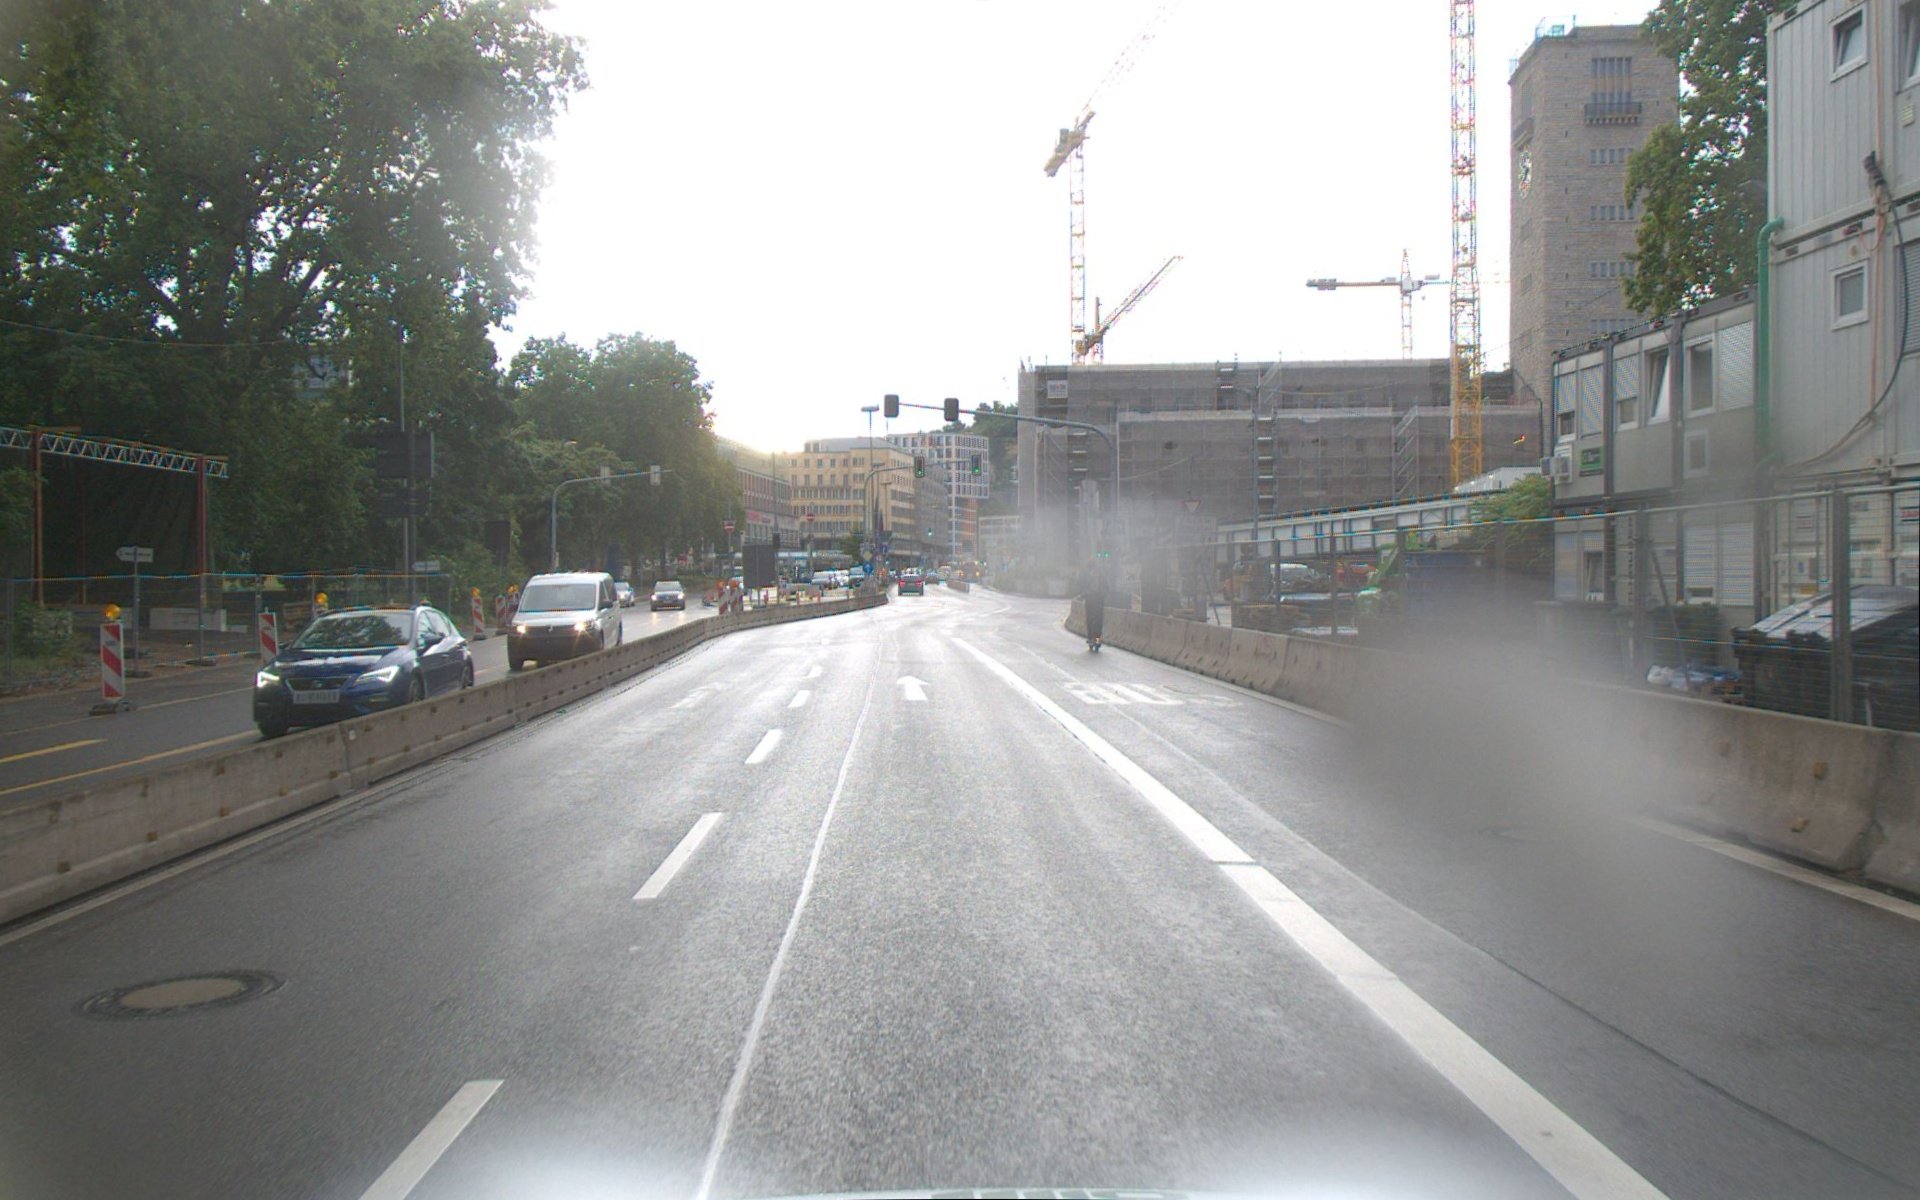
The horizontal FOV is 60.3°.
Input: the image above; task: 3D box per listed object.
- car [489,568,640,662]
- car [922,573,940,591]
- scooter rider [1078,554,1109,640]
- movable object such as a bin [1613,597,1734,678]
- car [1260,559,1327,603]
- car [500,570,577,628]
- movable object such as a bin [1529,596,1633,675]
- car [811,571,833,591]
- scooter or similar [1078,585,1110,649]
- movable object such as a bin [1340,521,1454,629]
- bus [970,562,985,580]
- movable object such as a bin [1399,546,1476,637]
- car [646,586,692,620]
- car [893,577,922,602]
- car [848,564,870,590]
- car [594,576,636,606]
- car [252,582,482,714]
[{"bbox_3d":[-7.882,0.285,33.449,1.990,1.682,4.909,-3,0,-2],"label":"car"},{"bbox_3d":[-3.552,-2.179,203.277,1.953,2.049,3.999,-2,-2,0],"label":"car"},{"bbox_3d":[2.867,-0.065,35.529,0.585,1.817,0.997,0,0,1],"label":"scooter rider"},{"bbox_3d":[10.842,0.570,25.177,1.222,1.143,1.238,-2,-2,-3],"label":"movable object such as a bin"},{"bbox_3d":[14.791,-0.897,73.644,1.809,1.838,5.085,0,2,-2],"label":"car"},{"bbox_3d":[-14.049,-0.007,55.294,1.839,1.736,3.994,-2,-2,-6],"label":"car"},{"bbox_3d":[10.616,0.612,28.319,1.222,1.258,1.238,-2,-2,-3],"label":"movable object such as a bin"},{"bbox_3d":[-12.654,-1.752,151.787,1.865,1.554,4.173,-2,-1,-4],"label":"car"},{"bbox_3d":[2.873,0.341,35.551,0.585,1.342,1.667,0,0,1],"label":"scooter or similar"},{"bbox_3d":[12.081,-0.740,46.005,1.772,2.858,3.861,0,2,-7],"label":"movable object such as a bin"},{"bbox_3d":[2.610,-4.249,245.657,1.952,2.474,4.001,-2,-2,4],"label":"bus"},{"bbox_3d":[12.156,-0.240,42.118,1.438,2.241,1.255,-1,2,-25],"label":"movable object such as a bin"},{"bbox_3d":[-15.124,0.185,86.177,1.955,1.568,4.573,-2,-1,-6],"label":"car"},{"bbox_3d":[-3.732,-0.756,117.059,1.865,1.554,4.173,-2,-1,-4],"label":"car"},{"bbox_3d":[-9.294,-2.096,152.052,1.865,2.119,4.173,-2,-2,-4],"label":"car"},{"bbox_3d":[-20.447,-0.516,98.147,1.955,1.568,4.439,-2,-1,-6],"label":"car"},{"bbox_3d":[-7.070,0.531,20.128,1.679,1.362,4.056,-3,0,-7],"label":"car"}]
